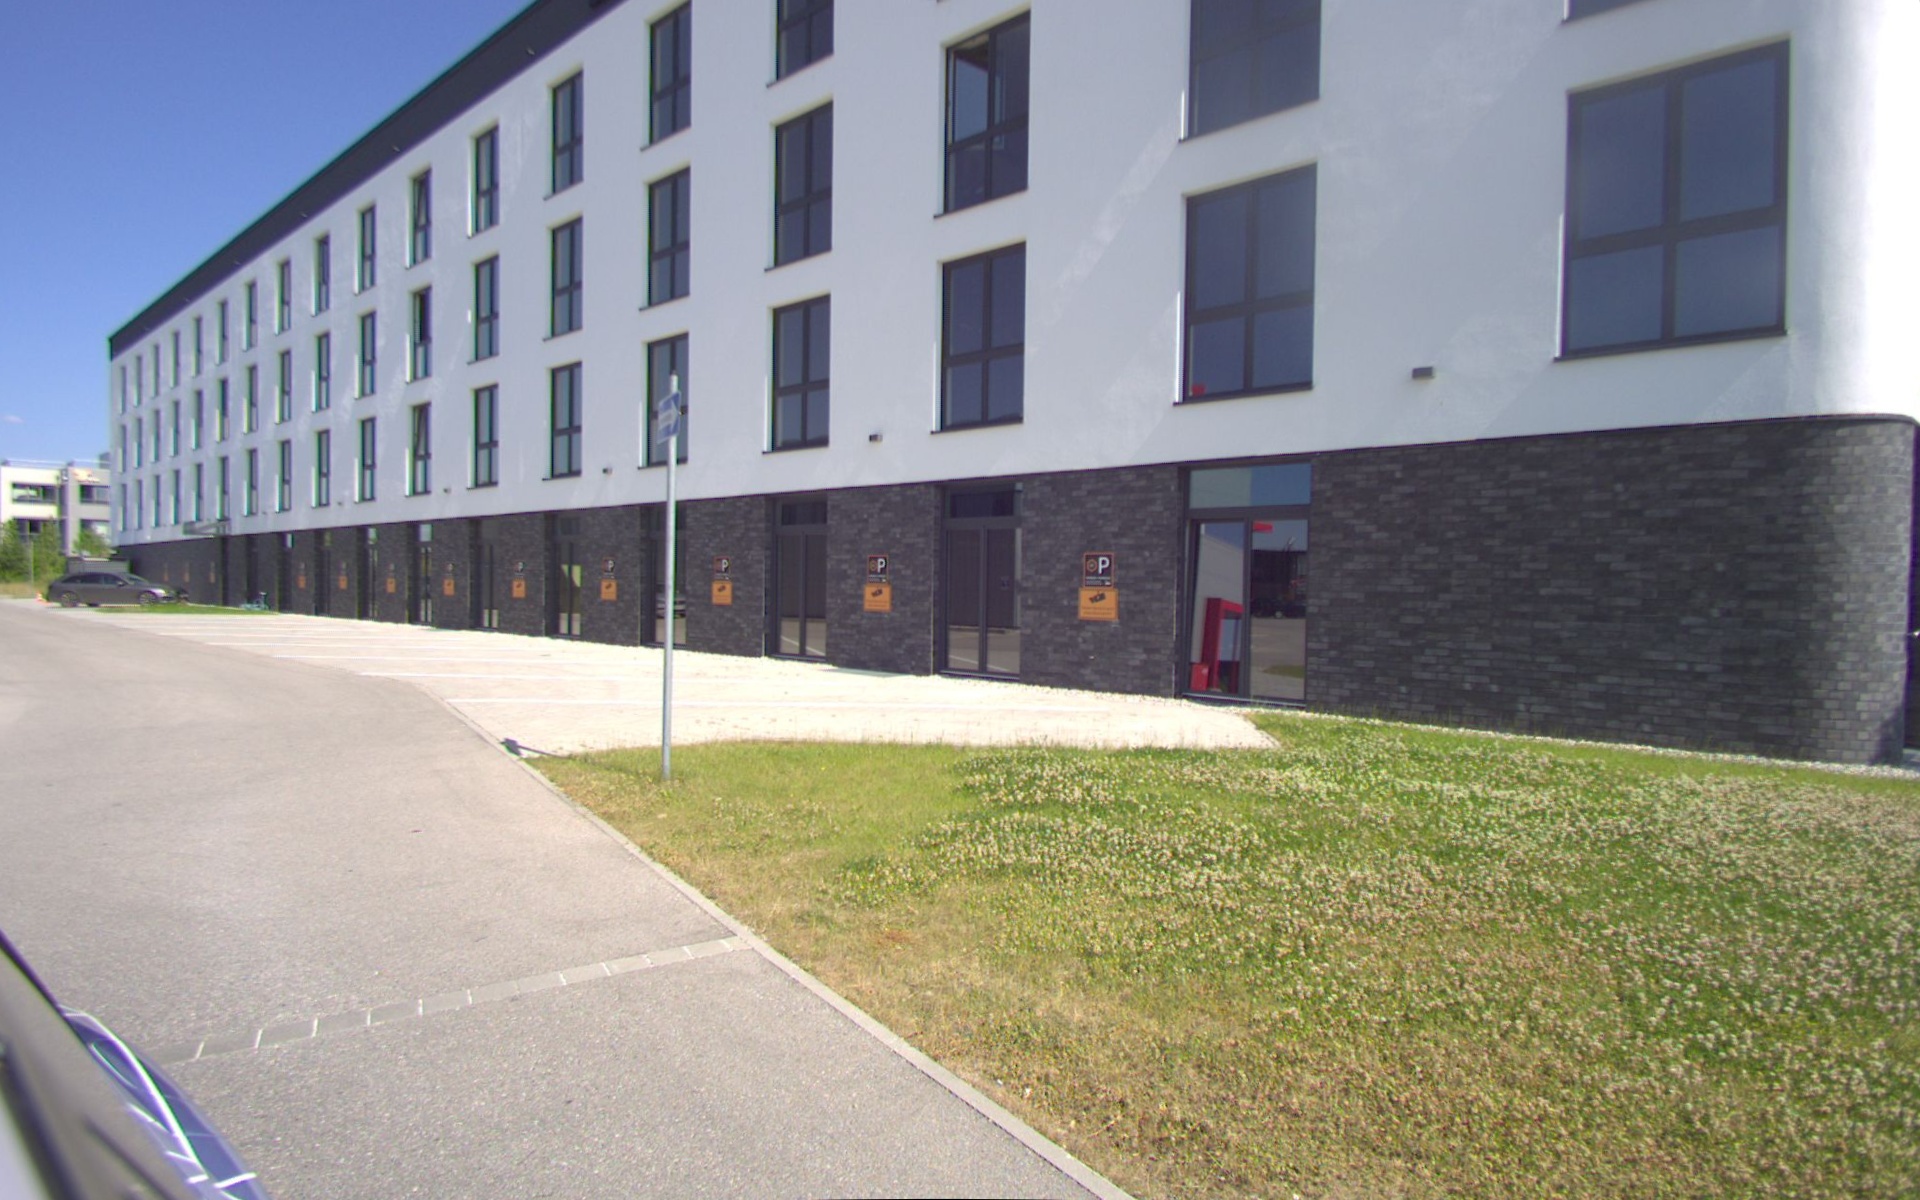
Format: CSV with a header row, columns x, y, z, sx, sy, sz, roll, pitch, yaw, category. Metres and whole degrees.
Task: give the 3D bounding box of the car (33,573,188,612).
x,y,z,sx,sy,sz,roll,pitch,yaw,category
-34.421,-0.327,41.122,4.450,1.519,1.884,0,1,-13,car
